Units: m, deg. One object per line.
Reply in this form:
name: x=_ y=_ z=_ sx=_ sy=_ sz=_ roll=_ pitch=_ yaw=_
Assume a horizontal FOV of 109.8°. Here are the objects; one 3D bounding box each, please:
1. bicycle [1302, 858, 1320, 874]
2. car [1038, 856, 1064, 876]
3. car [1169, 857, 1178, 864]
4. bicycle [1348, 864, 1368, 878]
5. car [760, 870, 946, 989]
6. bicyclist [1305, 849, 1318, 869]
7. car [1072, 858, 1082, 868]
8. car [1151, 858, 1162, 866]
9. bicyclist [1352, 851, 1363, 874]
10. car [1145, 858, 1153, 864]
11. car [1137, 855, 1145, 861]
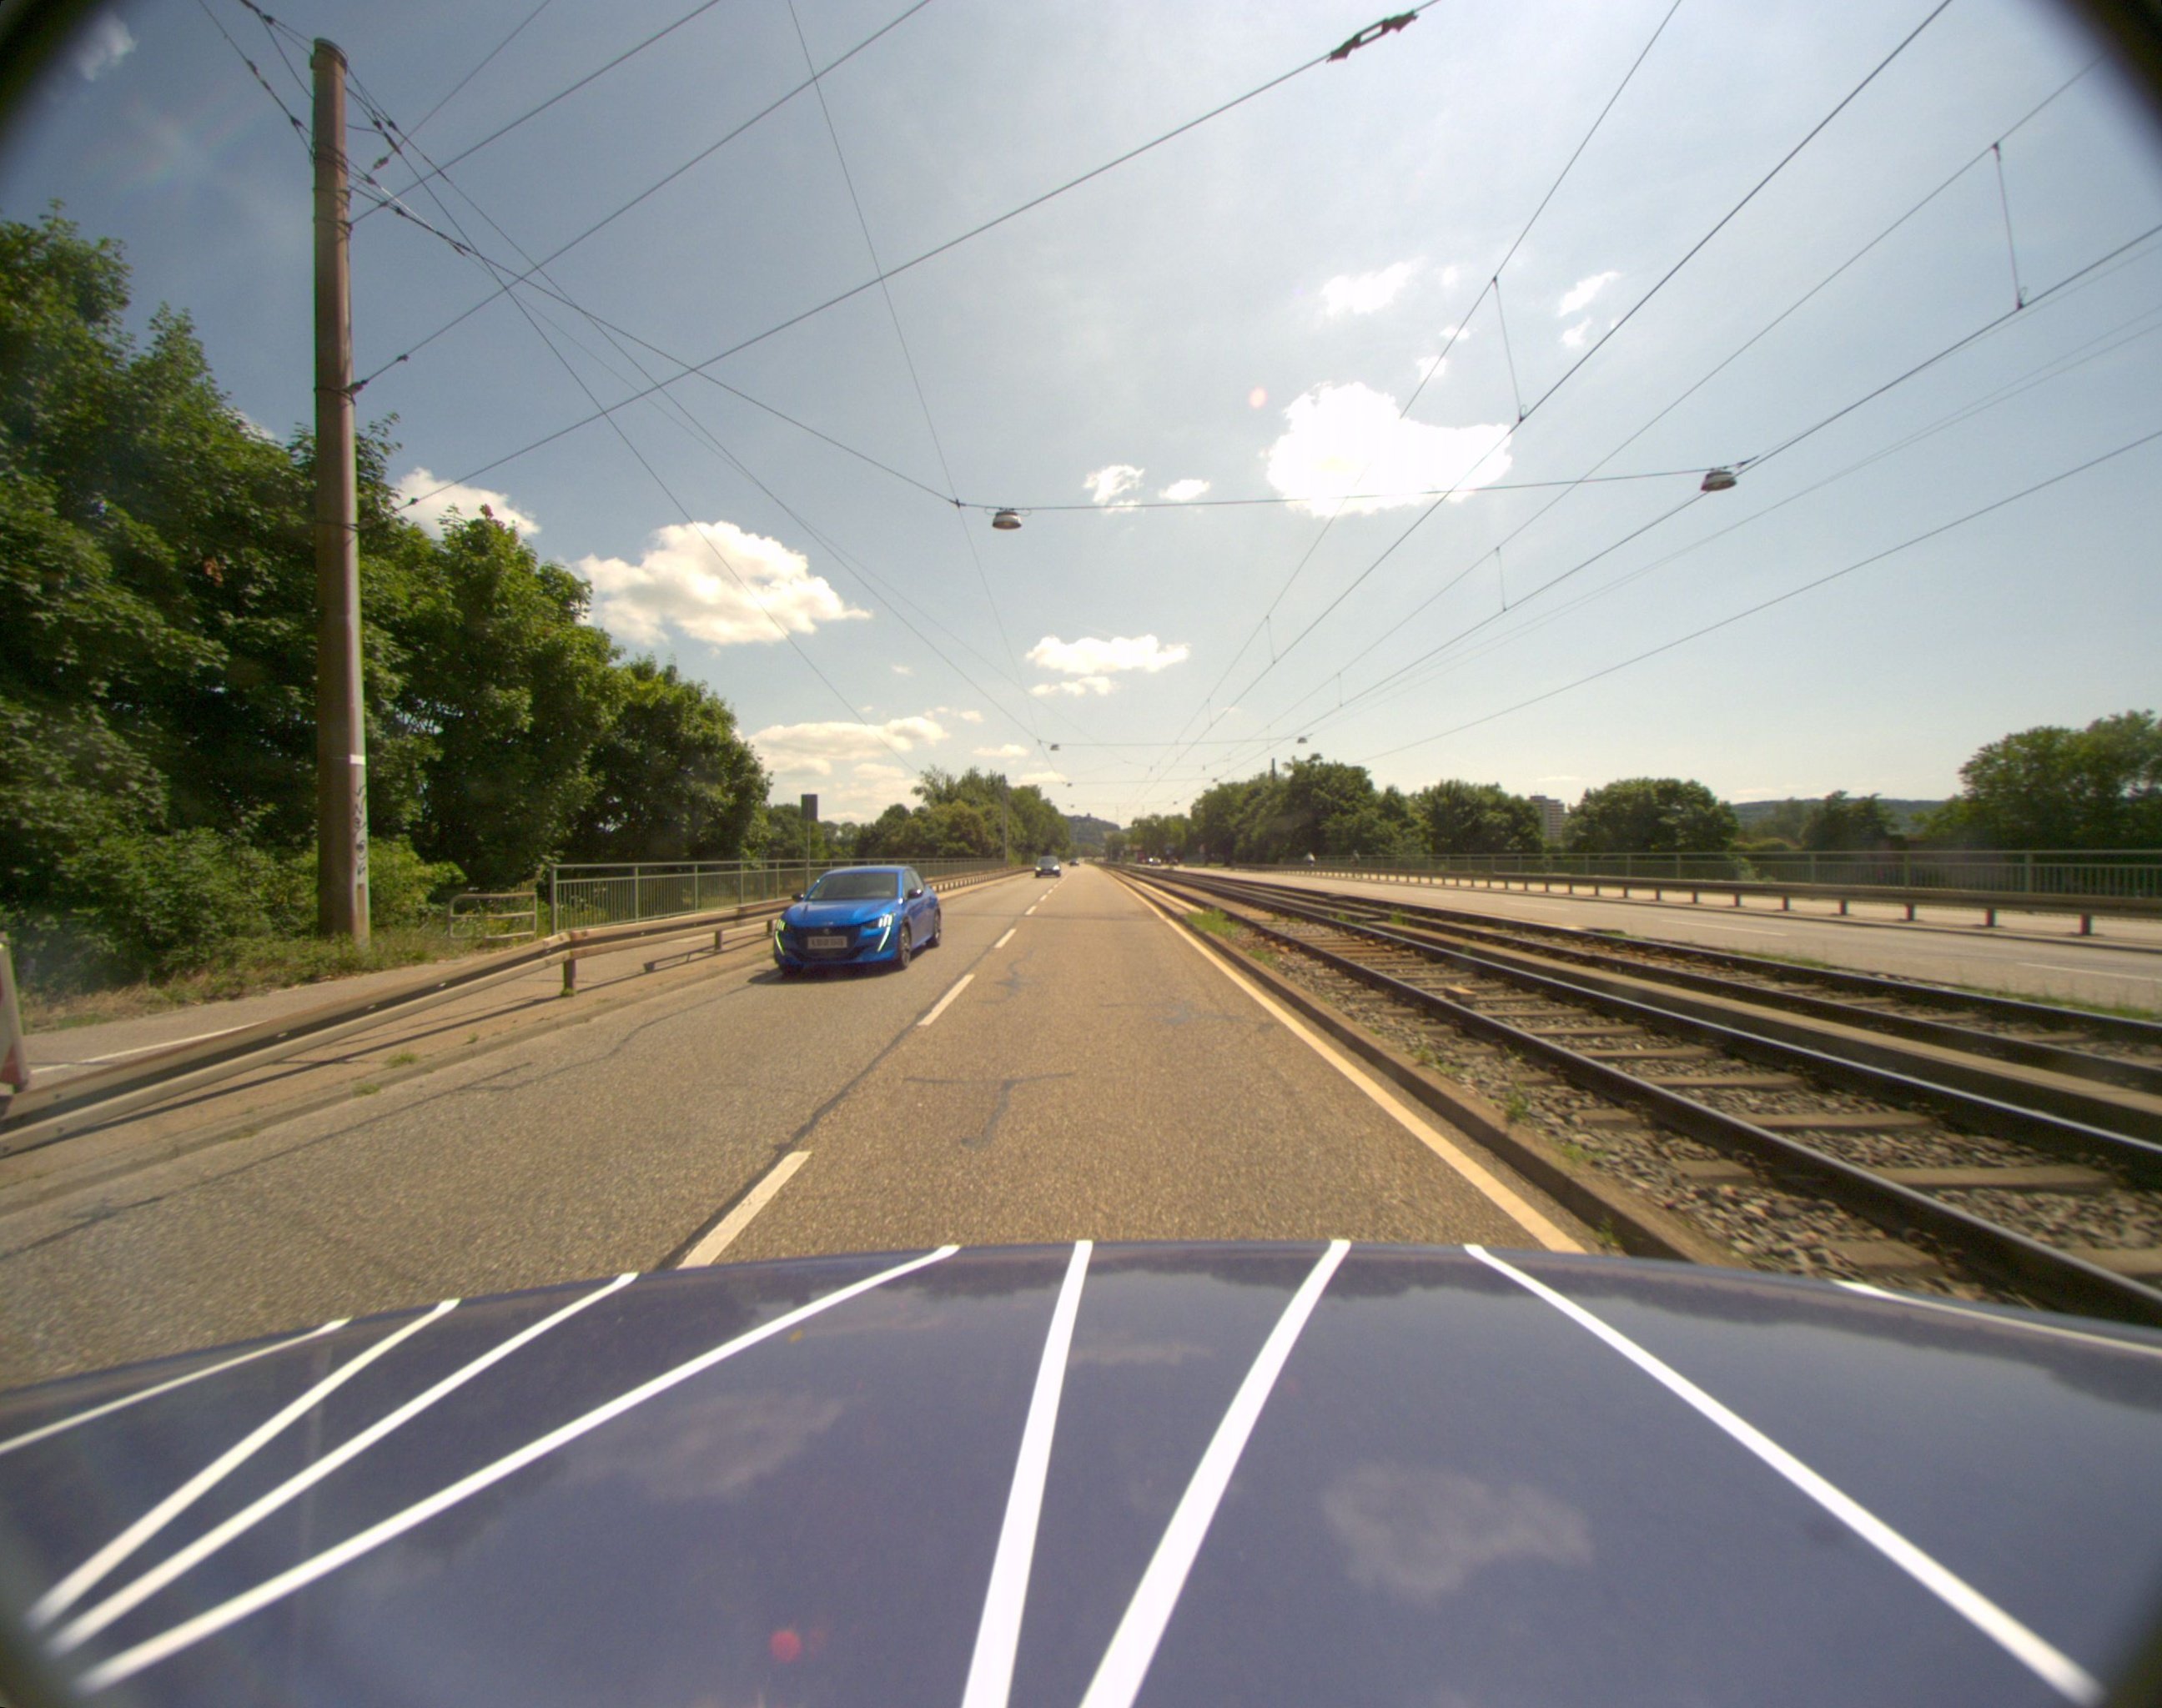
bicycle: x=18.639 y=0.960 z=61.624 sx=0.859 sy=1.178 sz=2.062 roll=-2 pitch=0 yaw=0
car: x=-2.190 y=0.890 z=56.436 sx=1.769 sy=1.359 sz=3.743 roll=-2 pitch=0 yaw=0
car: x=18.844 y=1.303 z=155.014 sx=1.567 sy=1.339 sz=3.929 roll=0 pitch=0 yaw=1
bicycle: x=18.297 y=1.124 z=50.271 sx=0.524 sy=0.838 sz=2.036 roll=-2 pitch=0 yaw=-1
car: x=-3.242 y=1.003 z=11.578 sx=1.660 sy=1.397 sz=3.743 roll=-2 pitch=0 yaw=0
bicyclist: x=18.652 y=0.422 z=61.614 sx=0.765 sy=1.612 sz=0.838 roll=-2 pitch=1 yaw=0
car: x=-0.822 y=1.743 z=152.106 sx=1.999 sy=2.002 sz=3.999 roll=-2 pitch=0 yaw=0
car: x=14.060 y=1.537 z=142.001 sx=1.715 sy=1.412 sz=4.624 roll=0 pitch=0 yaw=1
bicyclist: x=18.288 y=0.584 z=50.312 sx=0.522 sy=1.488 sz=0.530 roll=-2 pitch=0 yaw=0
car: x=15.643 y=1.566 z=174.587 sx=1.578 sy=1.392 sz=3.938 roll=0 pitch=0 yaw=0
car: x=16.940 y=1.117 z=214.229 sx=1.816 sy=1.914 sz=5.179 roll=0 pitch=0 yaw=1
